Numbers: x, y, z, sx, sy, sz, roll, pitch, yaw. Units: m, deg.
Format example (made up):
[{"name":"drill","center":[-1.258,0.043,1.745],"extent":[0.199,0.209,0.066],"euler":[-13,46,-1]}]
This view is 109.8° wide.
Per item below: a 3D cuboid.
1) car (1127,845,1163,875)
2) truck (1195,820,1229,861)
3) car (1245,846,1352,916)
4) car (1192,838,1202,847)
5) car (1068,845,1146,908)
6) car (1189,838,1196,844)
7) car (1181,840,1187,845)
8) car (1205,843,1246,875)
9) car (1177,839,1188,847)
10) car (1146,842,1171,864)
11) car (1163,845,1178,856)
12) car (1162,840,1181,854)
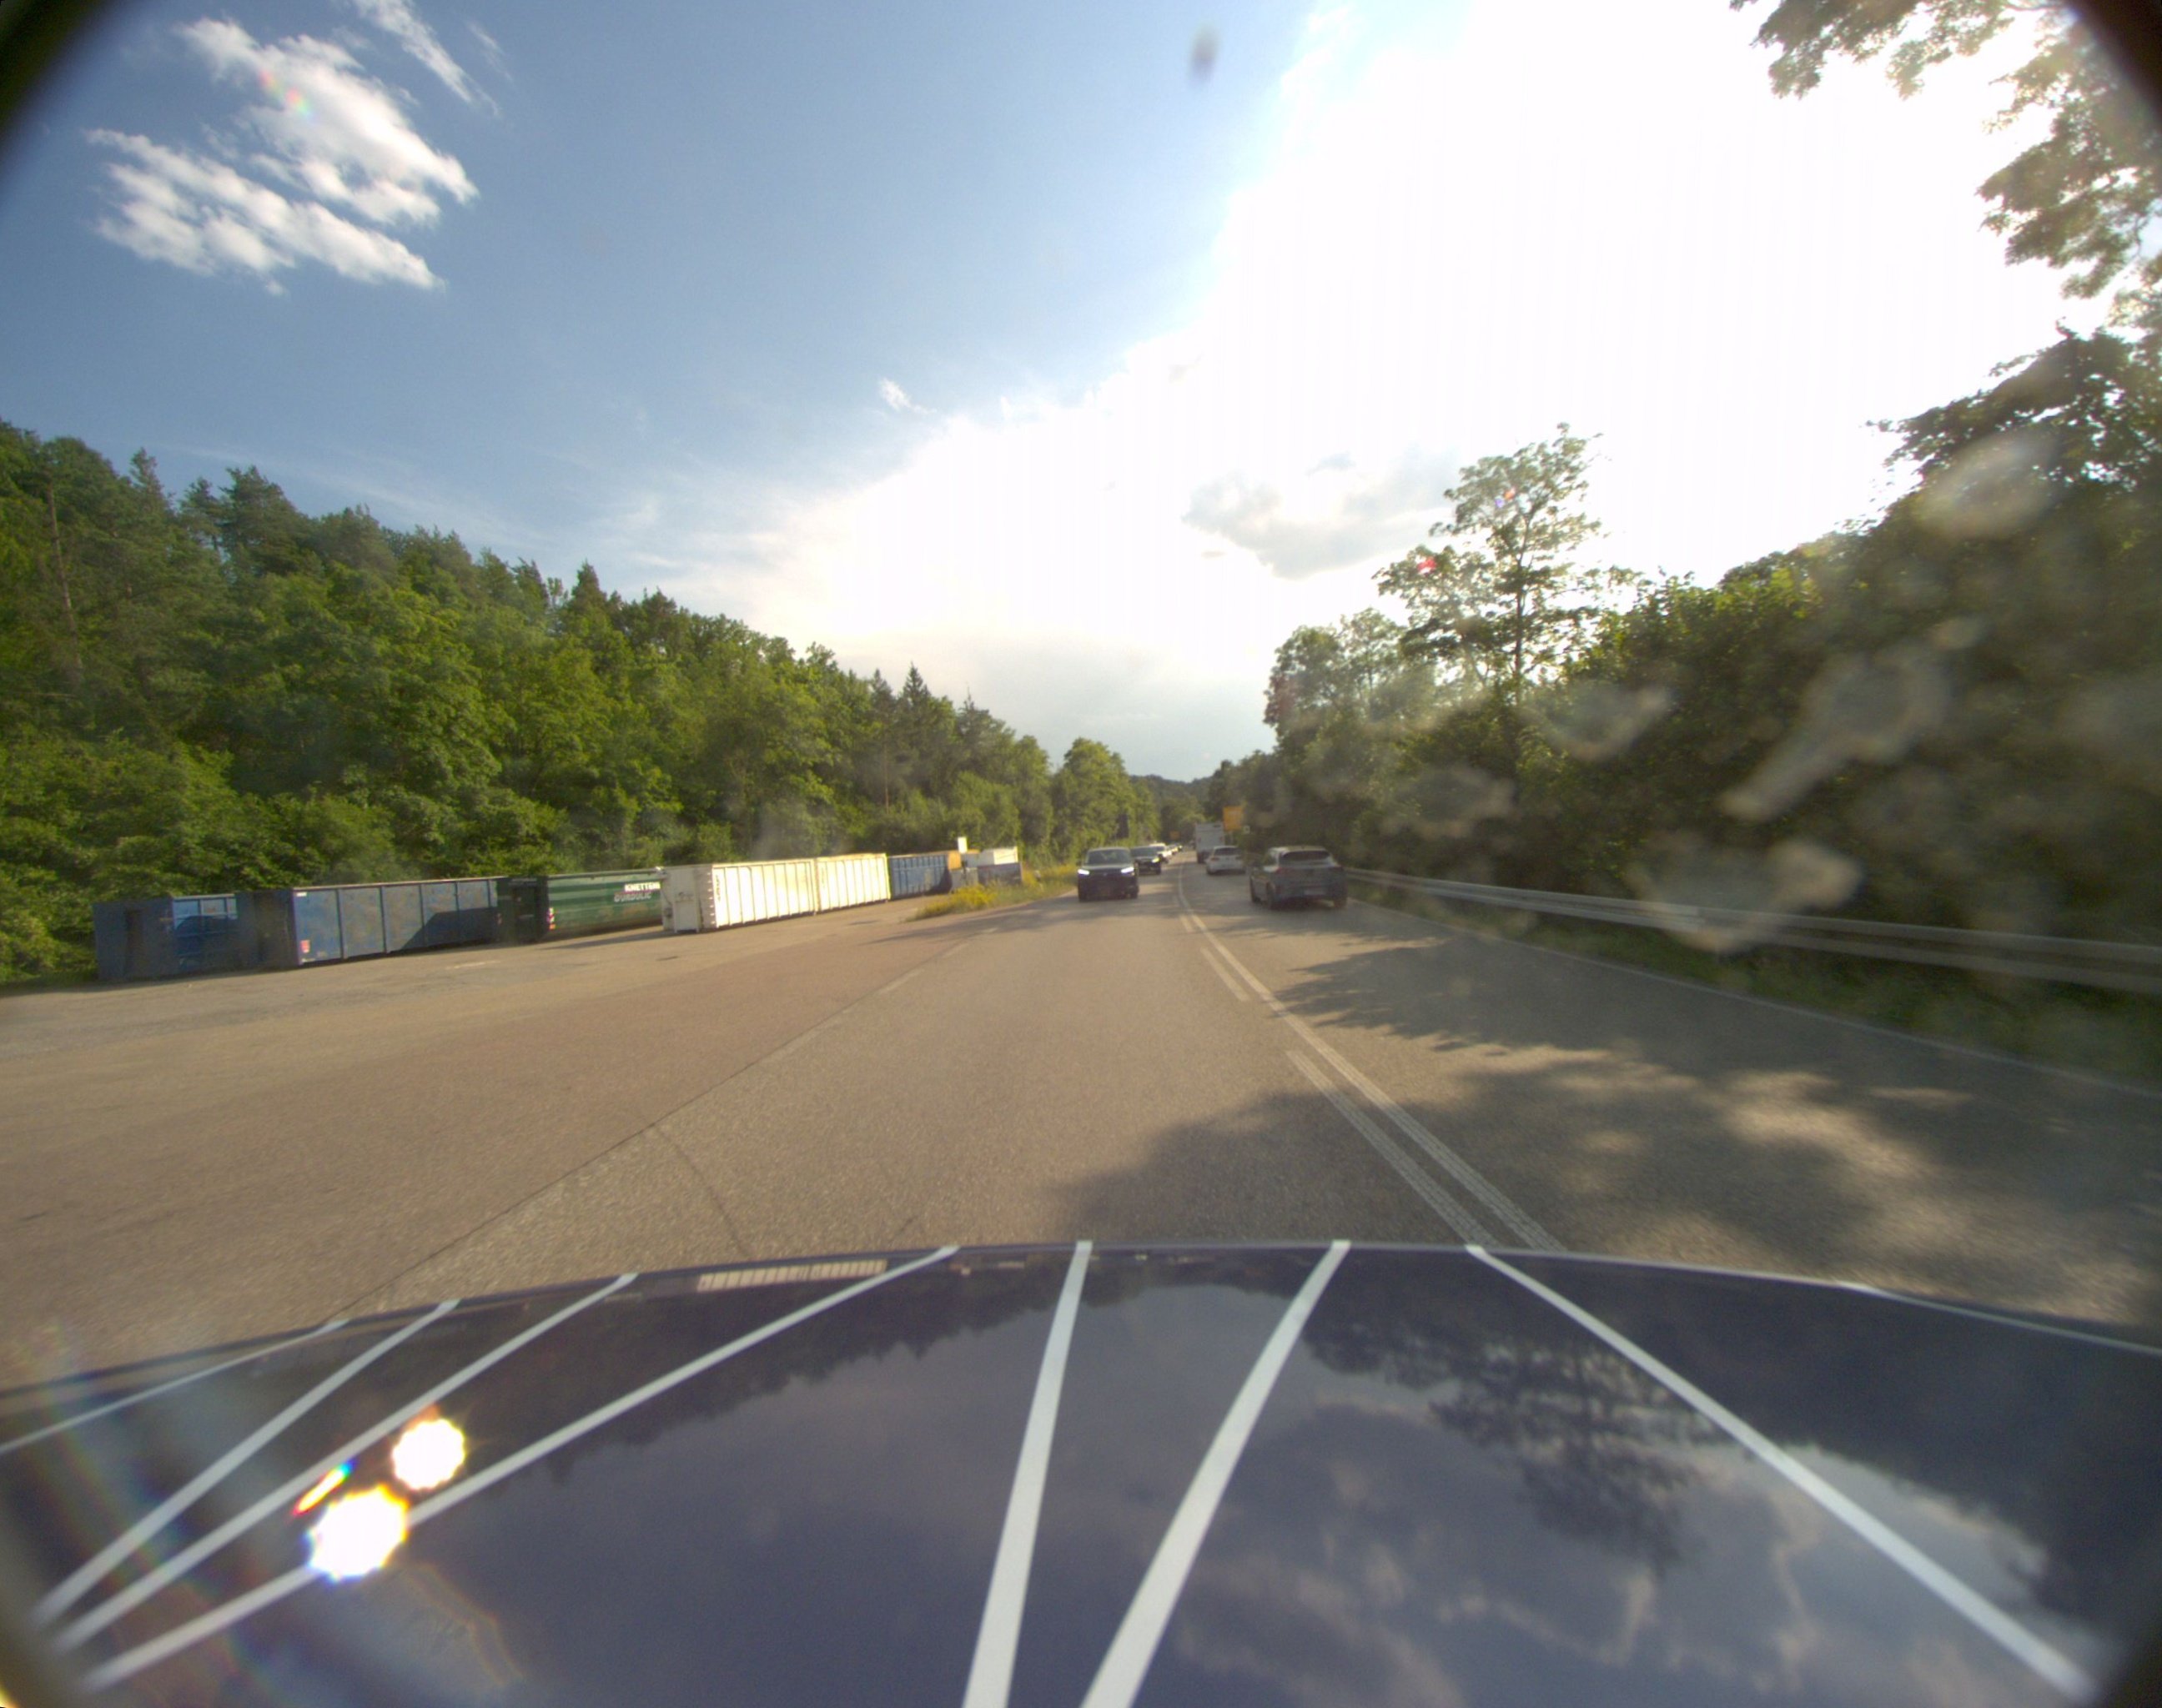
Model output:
[{"name":"car","center":[3.725,0.286,43.538],"extent":[1.847,1.561,4.259],"euler":[-3,1,7]},{"name":"truck","center":[10.503,-1.072,60.853],"extent":[2.460,3.055,6.268],"euler":[-2,1,10]},{"name":"car","center":[5.132,0.565,18.407],"extent":[1.664,1.437,3.922],"euler":[-3,1,4]},{"name":"car","center":[22.378,-2.133,146.171],"extent":[1.795,1.623,4.259],"euler":[-2,1,8]},{"name":"car","center":[0.914,0.612,23.887],"extent":[1.858,1.630,4.443],"euler":[-4,1,8]},{"name":"car","center":[31.854,-3.665,217.440],"extent":[1.795,1.623,4.259],"euler":[-4,1,8]},{"name":"car","center":[32.154,-3.603,236.660],"extent":[1.795,1.623,4.259],"euler":[-4,1,8]},{"name":"car","center":[7.283,0.224,38.605],"extent":[1.795,1.437,3.795],"euler":[-3,1,8]},{"name":"car","center":[19.272,-2.012,143.712],"extent":[1.895,1.437,4.478],"euler":[-2,1,8]},{"name":"car","center":[6.822,-0.116,66.394],"extent":[1.867,1.710,4.765],"euler":[-4,0,7]},{"name":"car","center":[13.331,-0.591,112.921],"extent":[1.858,1.412,4.421],"euler":[-4,1,9]},{"name":"car","center":[10.577,-0.823,88.503],"extent":[1.895,1.437,4.479],"euler":[-2,1,11]}]
